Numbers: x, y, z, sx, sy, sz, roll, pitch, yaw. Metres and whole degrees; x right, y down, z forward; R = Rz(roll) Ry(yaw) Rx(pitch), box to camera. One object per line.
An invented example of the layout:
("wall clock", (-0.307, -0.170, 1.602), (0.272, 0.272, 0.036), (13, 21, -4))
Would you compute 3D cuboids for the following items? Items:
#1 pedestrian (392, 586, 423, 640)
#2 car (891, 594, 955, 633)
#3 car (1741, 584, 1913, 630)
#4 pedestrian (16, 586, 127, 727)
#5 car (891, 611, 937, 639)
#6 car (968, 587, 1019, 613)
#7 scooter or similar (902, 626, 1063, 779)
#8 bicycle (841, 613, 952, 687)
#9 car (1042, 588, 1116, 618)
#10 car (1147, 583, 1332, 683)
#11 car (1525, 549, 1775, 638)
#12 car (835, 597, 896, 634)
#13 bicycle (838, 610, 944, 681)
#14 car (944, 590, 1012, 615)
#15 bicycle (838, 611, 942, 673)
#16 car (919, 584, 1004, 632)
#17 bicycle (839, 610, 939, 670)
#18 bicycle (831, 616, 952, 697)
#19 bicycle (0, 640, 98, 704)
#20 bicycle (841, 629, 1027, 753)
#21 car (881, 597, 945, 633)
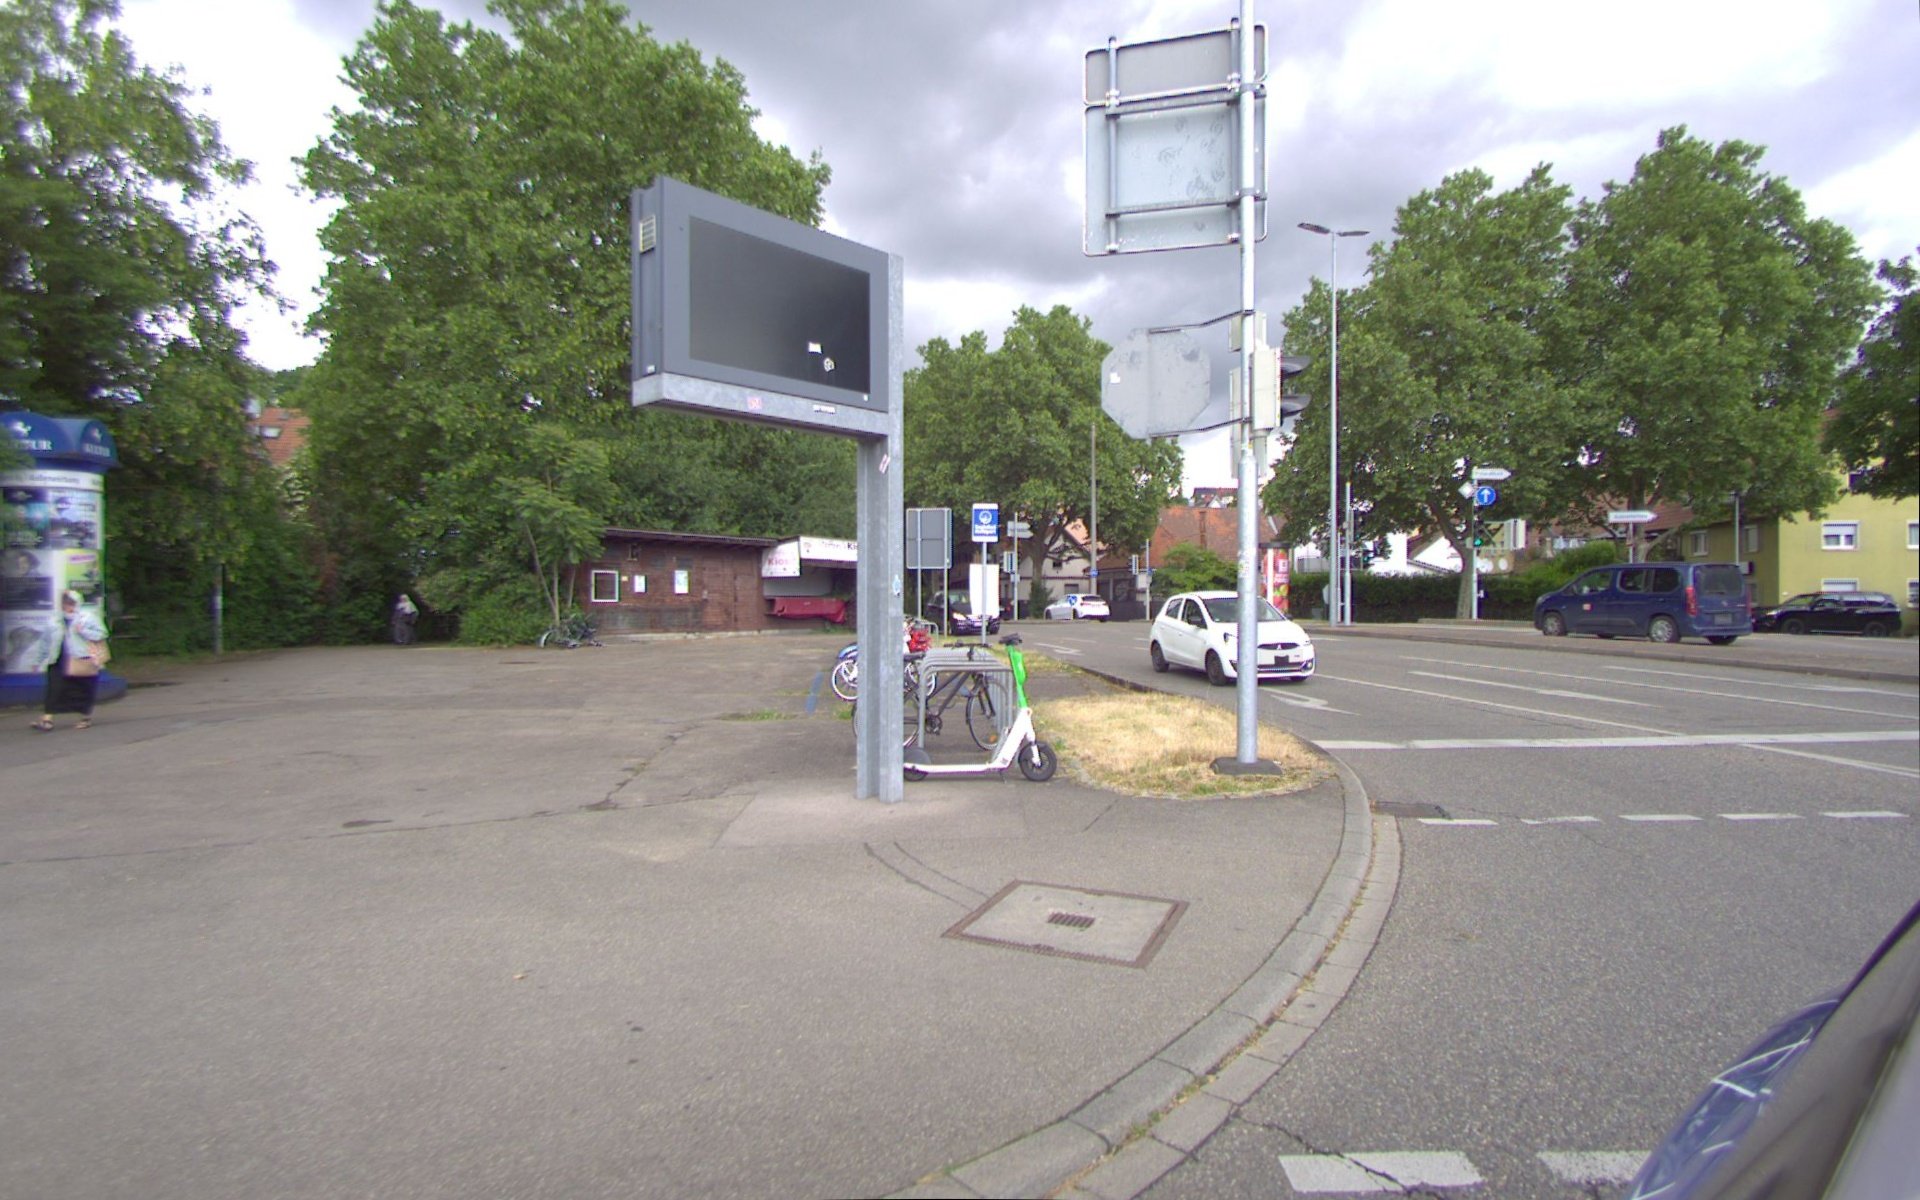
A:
("pedestrian", (-16.891, 0.385, 30.942), (0.488, 1.584, 0.617), (-2, 1, 8))
("car", (-1.541, 0.531, 41.074), (1.758, 1.450, 3.648), (-1, 0, -16))
("car", (32.486, 0.271, 38.050), (4.520, 1.673, 1.805), (-1, 0, 12))
("pedestrian", (-10.090, 0.611, 11.521), (0.657, 1.533, 0.757), (-1, 0, -13))
("car", (-2.714, 1.426, 59.064), (1.637, 1.448, 3.590), (-1, 1, -21))
("car", (1.915, -0.014, 59.298), (1.695, 1.466, 4.008), (-1, 0, -18))
("scooter or similar", (0.168, 0.783, 7.998), (1.208, 1.126, 0.655), (-1, 0, 0))
("bicycle", (-1.065, 0.818, 16.918), (1.777, 1.130, 0.583), (-1, 2, -11))
("car", (5.875, 0.164, 50.299), (1.775, 1.355, 4.125), (-3, 0, -23))
("car", (4.695, 0.477, 17.539), (1.640, 1.465, 3.612), (-2, 2, -10))
("car", (15.154, -0.176, 22.575), (1.793, 1.727, 4.486), (-2, 1, -15))
("car", (-4.833, 0.748, 51.218), (1.858, 1.637, 4.518), (-1, 2, -22))
("bicycle", (-1.214, 0.780, 17.678), (1.777, 1.130, 0.583), (-1, 2, -11))
("car", (1.335, 0.161, 74.373), (4.794, 1.720, 1.733), (0, 1, -32))
("bicycle", (-1.292, 0.758, 18.540), (1.846, 1.065, 0.599), (-1, 1, -6))
("car", (-0.014, 0.268, 35.550), (1.686, 1.551, 4.195), (-1, 0, -18))
("bicycle", (-1.362, 0.749, 19.224), (1.846, 1.065, 0.599), (-1, 1, -6))
("bicycle", (-1.058, 0.854, 15.546), (1.777, 1.130, 0.583), (-1, 2, -11))
("bicycle", (-13.194, 1.009, 14.227), (1.623, 0.867, 0.478), (0, -1, -8))
("bicycle", (-0.260, 0.832, 9.532), (1.666, 1.058, 0.609), (-1, 0, -10))
("car", (-2.450, 0.705, 51.475), (1.858, 1.637, 4.518), (-1, 2, -22))
